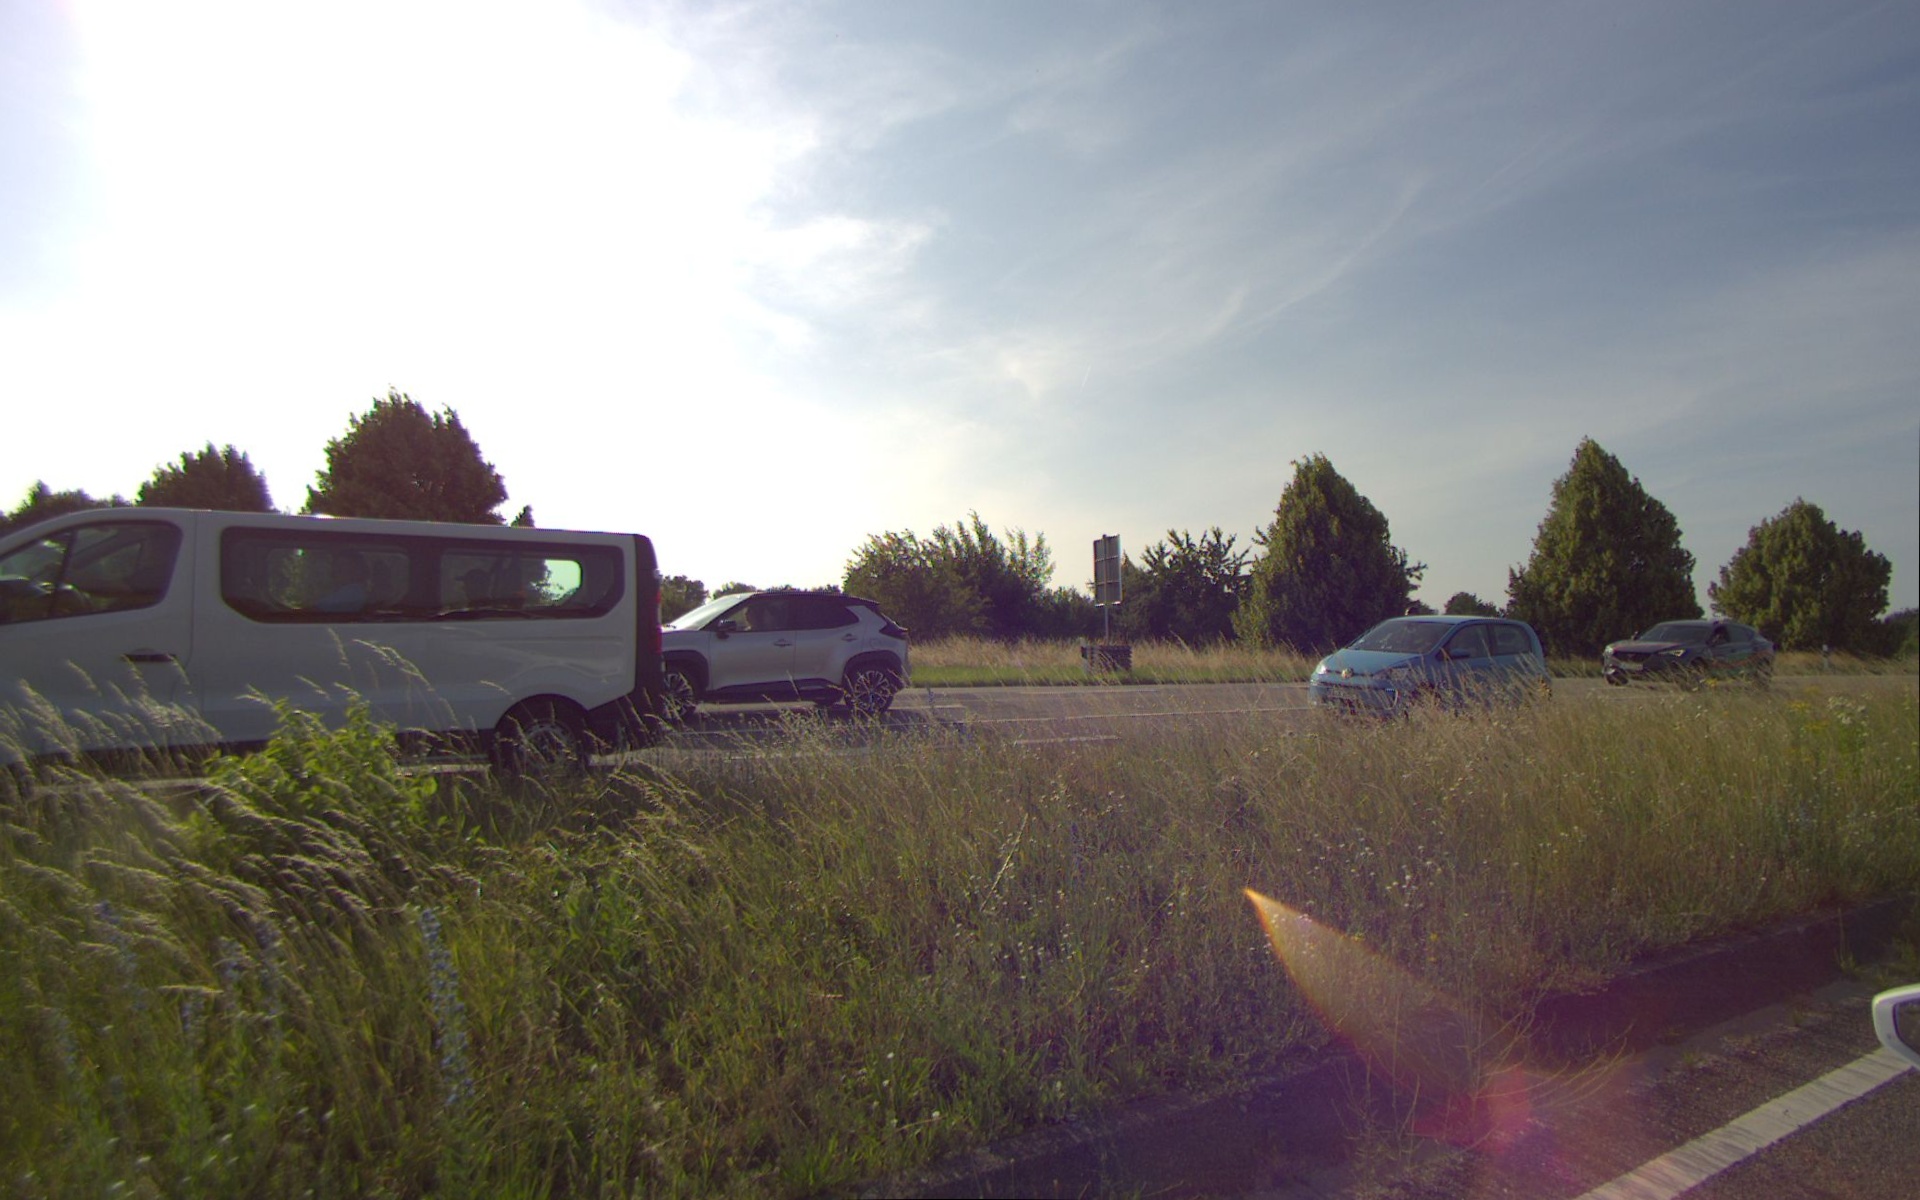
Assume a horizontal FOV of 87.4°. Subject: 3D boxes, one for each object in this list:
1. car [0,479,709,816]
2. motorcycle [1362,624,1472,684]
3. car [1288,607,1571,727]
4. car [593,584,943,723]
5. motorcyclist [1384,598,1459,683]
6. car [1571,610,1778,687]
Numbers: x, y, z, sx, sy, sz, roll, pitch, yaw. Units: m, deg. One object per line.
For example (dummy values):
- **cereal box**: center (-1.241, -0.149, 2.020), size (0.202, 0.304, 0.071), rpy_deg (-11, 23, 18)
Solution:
- **car**: center (-4.905, 0.300, 7.195), size (5.718, 1.929, 1.985), rpy_deg (1, -1, -29)
- **motorcycle**: center (9.061, 1.056, 19.906), size (2.279, 1.108, 0.749), rpy_deg (1, 0, -28)
- **car**: center (6.553, 0.873, 13.988), size (3.704, 1.462, 1.672), rpy_deg (1, 0, -28)
- **car**: center (-2.419, 0.638, 12.892), size (4.086, 1.545, 1.698), rpy_deg (1, -1, -30)
- **motorcyclist**: center (9.173, 0.792, 19.960), size (1.234, 1.625, 0.749), rpy_deg (1, 0, -28)
- **car**: center (16.186, 1.068, 22.736), size (4.550, 1.586, 1.906), rpy_deg (1, -1, -26)
